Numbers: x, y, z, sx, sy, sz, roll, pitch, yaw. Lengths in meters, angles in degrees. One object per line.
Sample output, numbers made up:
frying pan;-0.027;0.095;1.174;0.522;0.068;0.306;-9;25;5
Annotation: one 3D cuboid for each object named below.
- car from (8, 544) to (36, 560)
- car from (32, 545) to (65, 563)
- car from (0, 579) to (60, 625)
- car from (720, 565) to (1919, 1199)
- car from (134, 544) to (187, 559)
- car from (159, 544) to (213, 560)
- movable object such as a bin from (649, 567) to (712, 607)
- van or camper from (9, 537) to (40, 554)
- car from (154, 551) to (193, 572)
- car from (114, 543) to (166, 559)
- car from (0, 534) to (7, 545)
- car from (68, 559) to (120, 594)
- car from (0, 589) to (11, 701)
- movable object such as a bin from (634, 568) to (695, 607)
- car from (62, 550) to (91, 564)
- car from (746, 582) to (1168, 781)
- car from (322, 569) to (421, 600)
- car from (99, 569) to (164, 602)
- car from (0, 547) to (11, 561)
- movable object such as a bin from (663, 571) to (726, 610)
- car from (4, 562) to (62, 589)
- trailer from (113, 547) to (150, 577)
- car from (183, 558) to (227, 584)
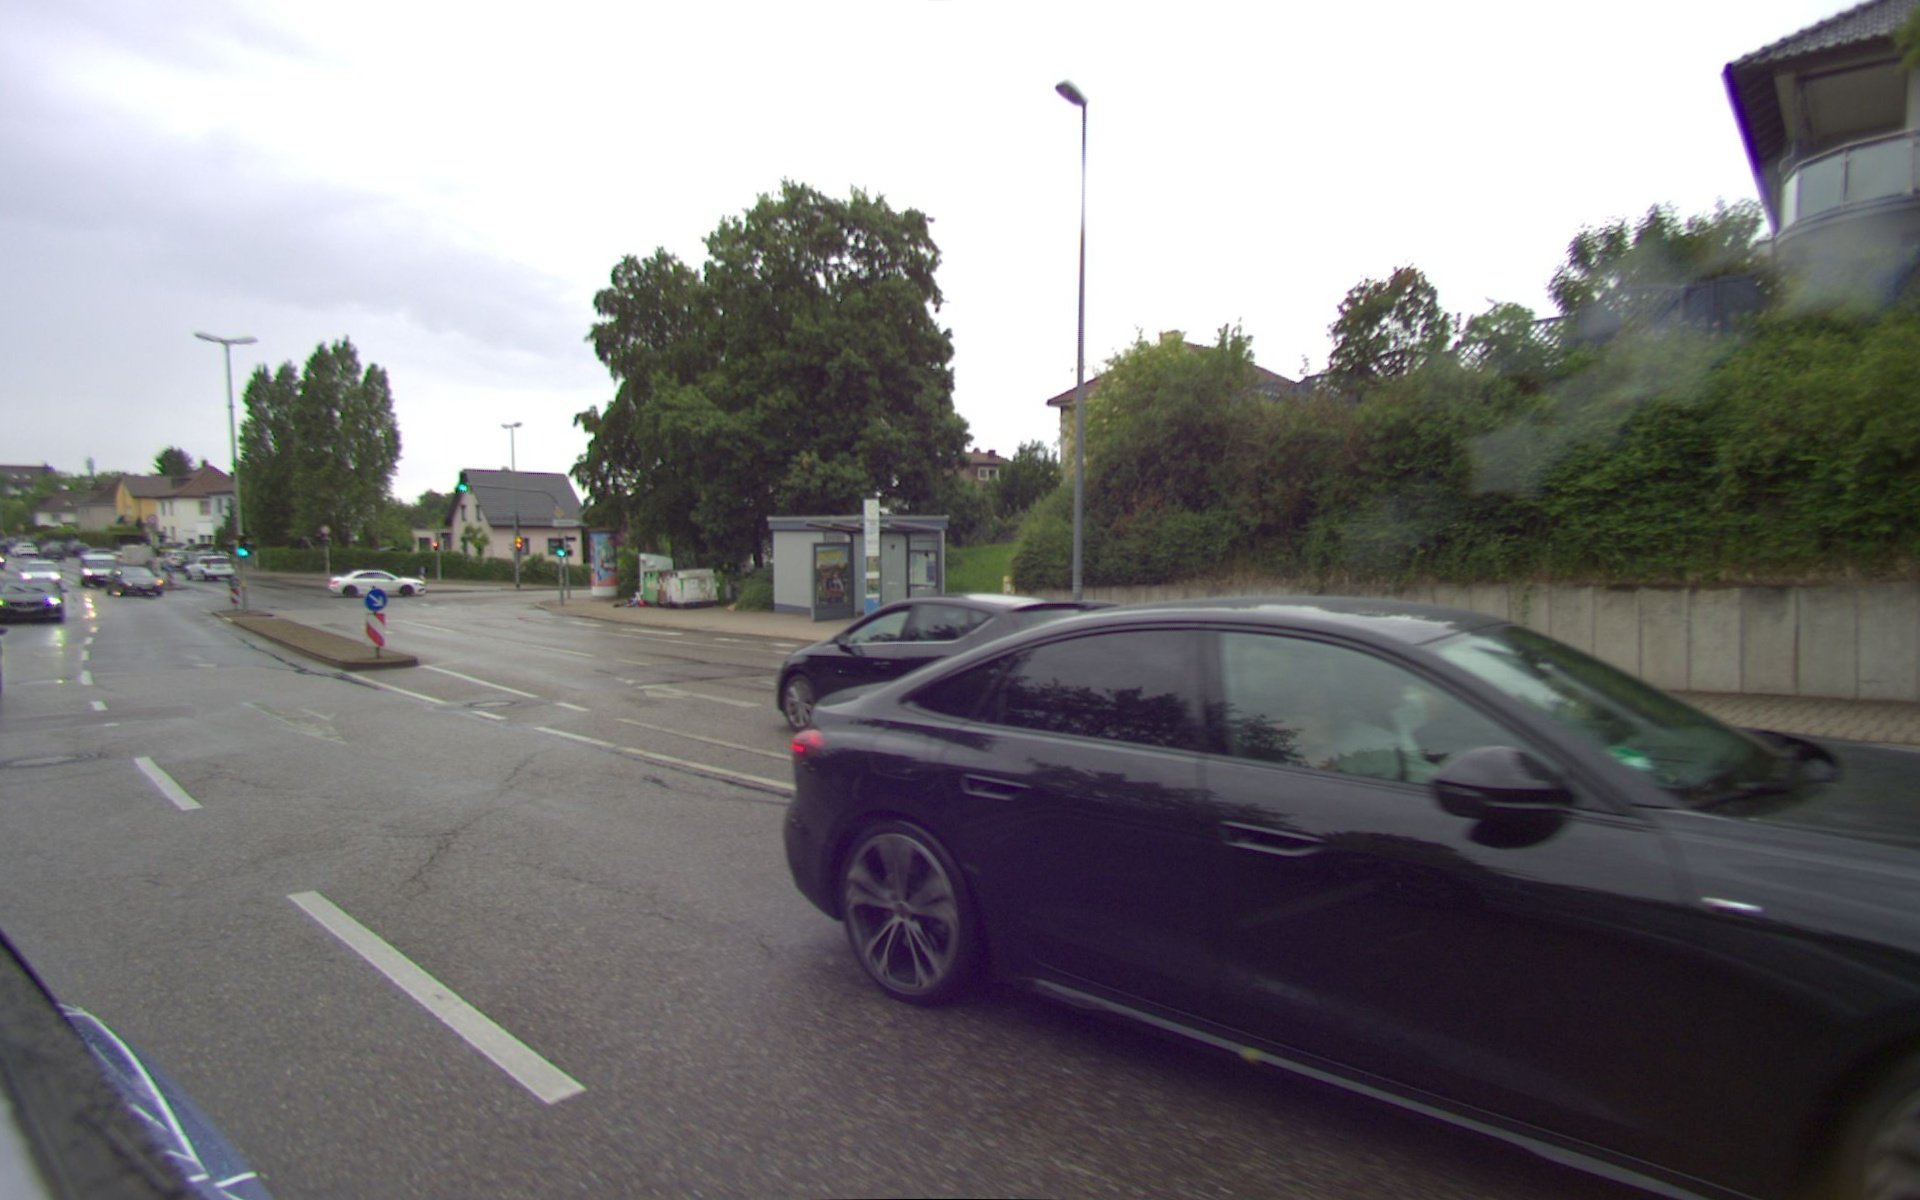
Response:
car;-99.951;-5.152;107.825;4.771;1.567;1.816;5;5;43
car;-88.832;-4.471;98.629;4.000;1.585;1.972;5;5;42
car;-32.599;0.084;35.224;1.813;1.468;4.006;-3;1;-41
car;1.484;0.614;3.182;4.855;1.408;1.886;1;3;41
car;-85.136;-5.206;107.771;1.883;1.430;4.058;4;7;40
car;-77.422;-4.815;101.289;1.883;1.430;3.948;4;7;40
movable object such as a bin;-11.504;-0.574;41.625;2.031;1.580;1.585;-2;2;-38
van or camper;-116.858;-6.796;126.405;5.130;2.028;2.163;4;5;39
car;-64.598;-3.194;83.101;4.141;1.580;1.786;5;5;41
car;-90.039;-5.352;111.133;1.835;1.495;4.066;2;0;33
car;-156.628;-9.855;164.584;3.998;1.585;1.973;5;5;41
car;-52.205;-1.461;60.963;4.748;1.884;1.929;4;4;44
car;-13.362;0.616;12.773;1.813;1.408;4.006;-2;2;-41
movable object such as a bin;-12.510;-0.546;42.872;2.031;1.580;1.585;-2;2;-38
car;-95.893;-4.644;109.786;3.998;1.426;1.786;4;4;41
car;-0.241;0.586;9.973;1.868;1.498;4.241;-2;2;-40
car;-32.145;-0.870;55.412;4.572;1.539;1.921;-1;4;-29
car;-43.901;-0.800;53.601;4.054;1.498;1.818;4;5;38
car;-112.159;-5.363;117.817;3.997;1.474;1.835;3;5;39
movable object such as a bin;-10.602;-0.398;40.439;2.031;1.526;1.347;-2;2;-38
car;-54.286;-1.448;59.245;3.995;1.492;1.819;2;3;38
trailer;-62.526;-2.878;76.372;1.873;2.195;4.041;-2;4;-43
car;-51.881;-2.008;69.518;1.803;1.669;4.470;-2;4;-45
